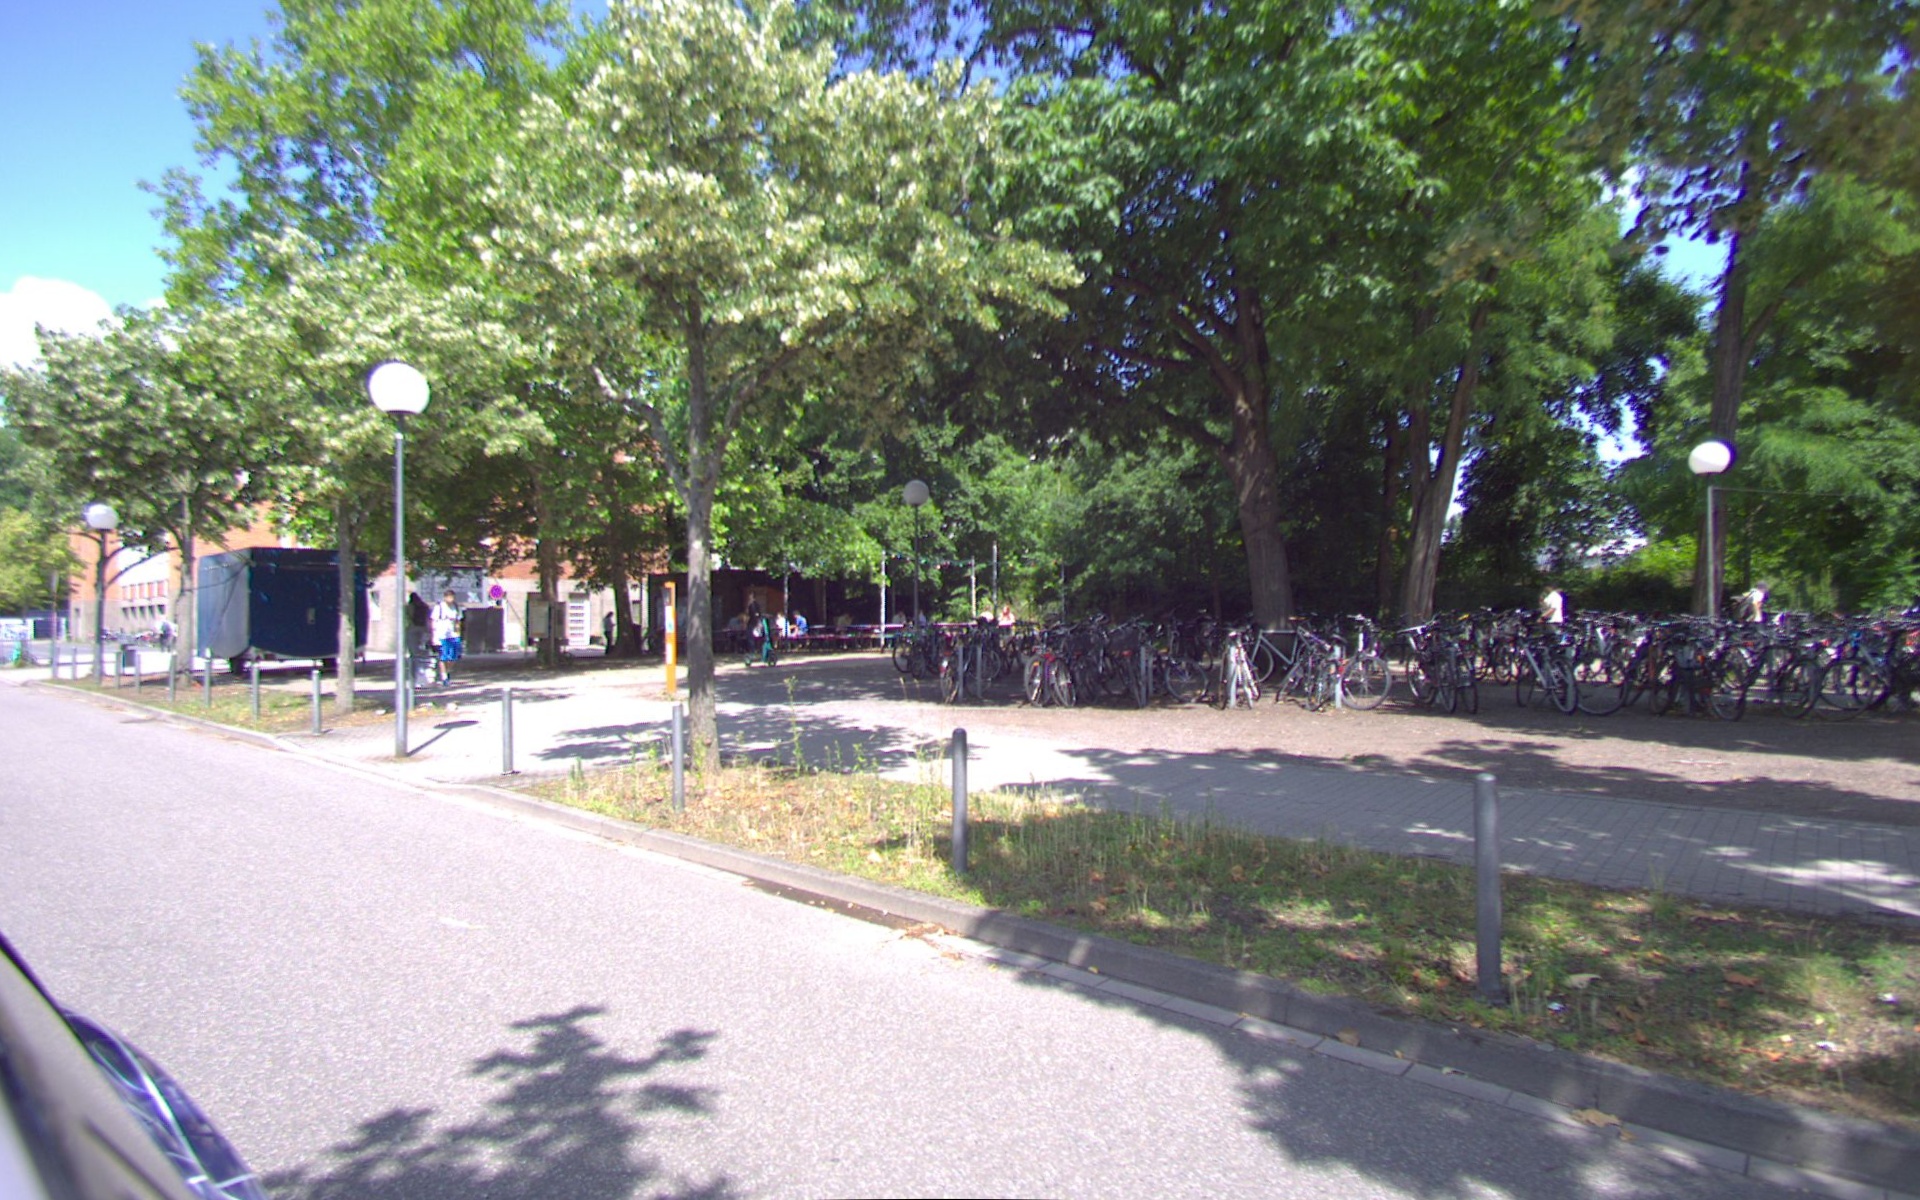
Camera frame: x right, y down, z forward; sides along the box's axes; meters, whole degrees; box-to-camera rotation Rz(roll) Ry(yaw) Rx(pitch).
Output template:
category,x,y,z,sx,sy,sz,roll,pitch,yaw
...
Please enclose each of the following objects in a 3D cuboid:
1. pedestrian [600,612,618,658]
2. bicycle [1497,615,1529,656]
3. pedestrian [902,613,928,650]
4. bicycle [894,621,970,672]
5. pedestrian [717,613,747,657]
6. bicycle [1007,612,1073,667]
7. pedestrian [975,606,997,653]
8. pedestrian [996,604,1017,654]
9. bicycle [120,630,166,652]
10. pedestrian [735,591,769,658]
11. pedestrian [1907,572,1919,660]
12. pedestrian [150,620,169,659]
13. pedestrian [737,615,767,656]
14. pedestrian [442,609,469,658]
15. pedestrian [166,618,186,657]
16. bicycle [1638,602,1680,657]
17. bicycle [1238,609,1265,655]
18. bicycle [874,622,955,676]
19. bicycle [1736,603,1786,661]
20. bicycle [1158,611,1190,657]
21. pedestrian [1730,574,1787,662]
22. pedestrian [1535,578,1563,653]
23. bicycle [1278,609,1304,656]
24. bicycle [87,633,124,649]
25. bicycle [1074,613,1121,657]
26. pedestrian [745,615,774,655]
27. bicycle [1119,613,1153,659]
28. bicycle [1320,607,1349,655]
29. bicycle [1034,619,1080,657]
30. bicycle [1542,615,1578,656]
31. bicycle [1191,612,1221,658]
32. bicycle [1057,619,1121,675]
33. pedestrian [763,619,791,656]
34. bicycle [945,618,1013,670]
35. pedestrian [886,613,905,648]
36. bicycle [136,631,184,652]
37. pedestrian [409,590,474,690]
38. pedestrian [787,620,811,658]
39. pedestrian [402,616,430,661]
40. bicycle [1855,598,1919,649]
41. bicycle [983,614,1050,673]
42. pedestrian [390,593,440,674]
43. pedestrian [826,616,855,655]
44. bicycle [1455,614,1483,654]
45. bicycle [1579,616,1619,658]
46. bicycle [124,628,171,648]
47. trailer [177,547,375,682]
category,x,y,z,sx,sy,sz,roll,pitch,yaw
pedestrian,-13.240,1.313,38.162,0.441,1.723,0.531,-2,0,-3
bicycle,13.148,0.829,24.086,0.416,0.900,1.755,-2,0,21
pedestrian,-1.473,1.028,33.062,0.728,1.203,0.388,-2,-1,32
bicycle,-0.595,0.995,22.081,0.537,1.022,1.782,-2,-1,43
pedestrian,-7.380,1.135,32.791,0.734,1.379,0.594,-3,-1,7
bicycle,1.648,0.772,20.565,0.535,1.035,1.947,-2,-1,30
pedestrian,0.782,0.901,30.874,0.459,1.433,0.501,-2,-1,31
pedestrian,1.447,0.888,31.494,0.472,1.534,0.502,-2,-1,30
bicycle,-46.819,2.345,58.000,0.439,1.134,1.998,-2,0,45
pedestrian,-5.882,0.694,28.625,0.805,1.862,0.524,-2,-1,42
pedestrian,18.860,0.301,19.419,0.721,1.683,0.631,-1,-1,6
pedestrian,-37.122,1.824,46.941,0.805,1.775,0.557,-1,-1,41
pedestrian,-6.644,1.128,32.316,0.734,1.243,0.594,-3,-1,7
pedestrian,-17.577,1.154,35.240,0.643,1.678,0.623,-2,-1,42
pedestrian,-36.710,1.739,47.388,0.917,1.793,0.570,-1,-1,41
bicycle,16.003,0.655,23.194,0.421,1.216,1.782,-2,-1,24
bicycle,7.431,0.786,25.758,0.592,1.099,1.946,0,0,18
bicycle,-0.923,0.988,20.914,0.537,1.022,1.783,-2,-1,43
bicycle,17.808,0.693,22.533,0.421,1.216,1.782,-2,-1,24
bicycle,5.464,0.847,25.758,0.592,1.099,1.946,0,0,18
pedestrian,15.575,0.349,19.752,0.623,1.683,0.577,-1,-1,6
pedestrian,12.964,0.342,22.280,0.461,1.626,0.346,-2,-1,37
bicycle,8.264,0.783,25.256,0.592,1.099,1.946,0,0,18
bicycle,-60.166,2.880,71.249,0.541,1.038,1.931,-2,-2,40
bicycle,3.605,0.894,26.478,0.594,1.099,1.939,0,0,28
pedestrian,-6.525,1.131,32.928,0.734,1.243,0.594,-3,-1,7
bicycle,4.436,0.886,25.614,0.589,1.099,1.957,0,0,2
bicycle,9.163,0.731,24.811,0.592,1.099,1.946,0,0,18
bicycle,2.591,0.995,26.889,0.544,0.949,1.866,0,0,28
bicycle,14.125,0.832,23.867,0.416,0.900,1.755,-2,0,21
bicycle,6.215,0.855,25.505,0.592,1.099,1.946,0,0,18
bicycle,2.619,0.921,20.372,0.535,1.035,1.947,-2,-1,30
pedestrian,-6.638,1.368,36.768,0.778,1.333,0.680,-2,-2,43
bicycle,0.420,0.905,21.418,0.535,1.011,1.947,-2,-1,30
pedestrian,-2.120,1.011,33.350,0.505,1.148,0.333,-2,-1,31
bicycle,-44.516,2.287,56.328,0.666,1.134,2.001,-2,-2,40
pedestrian,-9.956,0.750,19.443,0.986,1.844,0.791,-2,-1,42
pedestrian,-5.778,1.385,36.231,0.559,1.333,0.638,-2,-2,43
pedestrian,-19.097,1.342,35.541,0.499,1.521,0.735,-2,-1,42
bicycle,20.038,0.481,21.655,0.502,1.043,2.050,-1,0,17
bicycle,1.194,0.873,20.895,0.535,1.134,1.947,-2,-1,30
pedestrian,-13.799,0.821,25.610,0.906,1.969,0.894,-2,1,-39
pedestrian,-3.963,1.171,33.614,0.764,1.260,0.565,-2,-1,30
bicycle,12.197,0.804,24.280,0.416,0.900,1.755,-2,0,21
bicycle,14.884,0.845,23.594,0.416,0.900,1.755,-2,0,21
bicycle,-46.121,2.149,57.481,0.592,1.134,2.000,-2,-2,42
trailer,-17.627,0.375,25.923,6.263,3.049,2.668,-2,-1,41
